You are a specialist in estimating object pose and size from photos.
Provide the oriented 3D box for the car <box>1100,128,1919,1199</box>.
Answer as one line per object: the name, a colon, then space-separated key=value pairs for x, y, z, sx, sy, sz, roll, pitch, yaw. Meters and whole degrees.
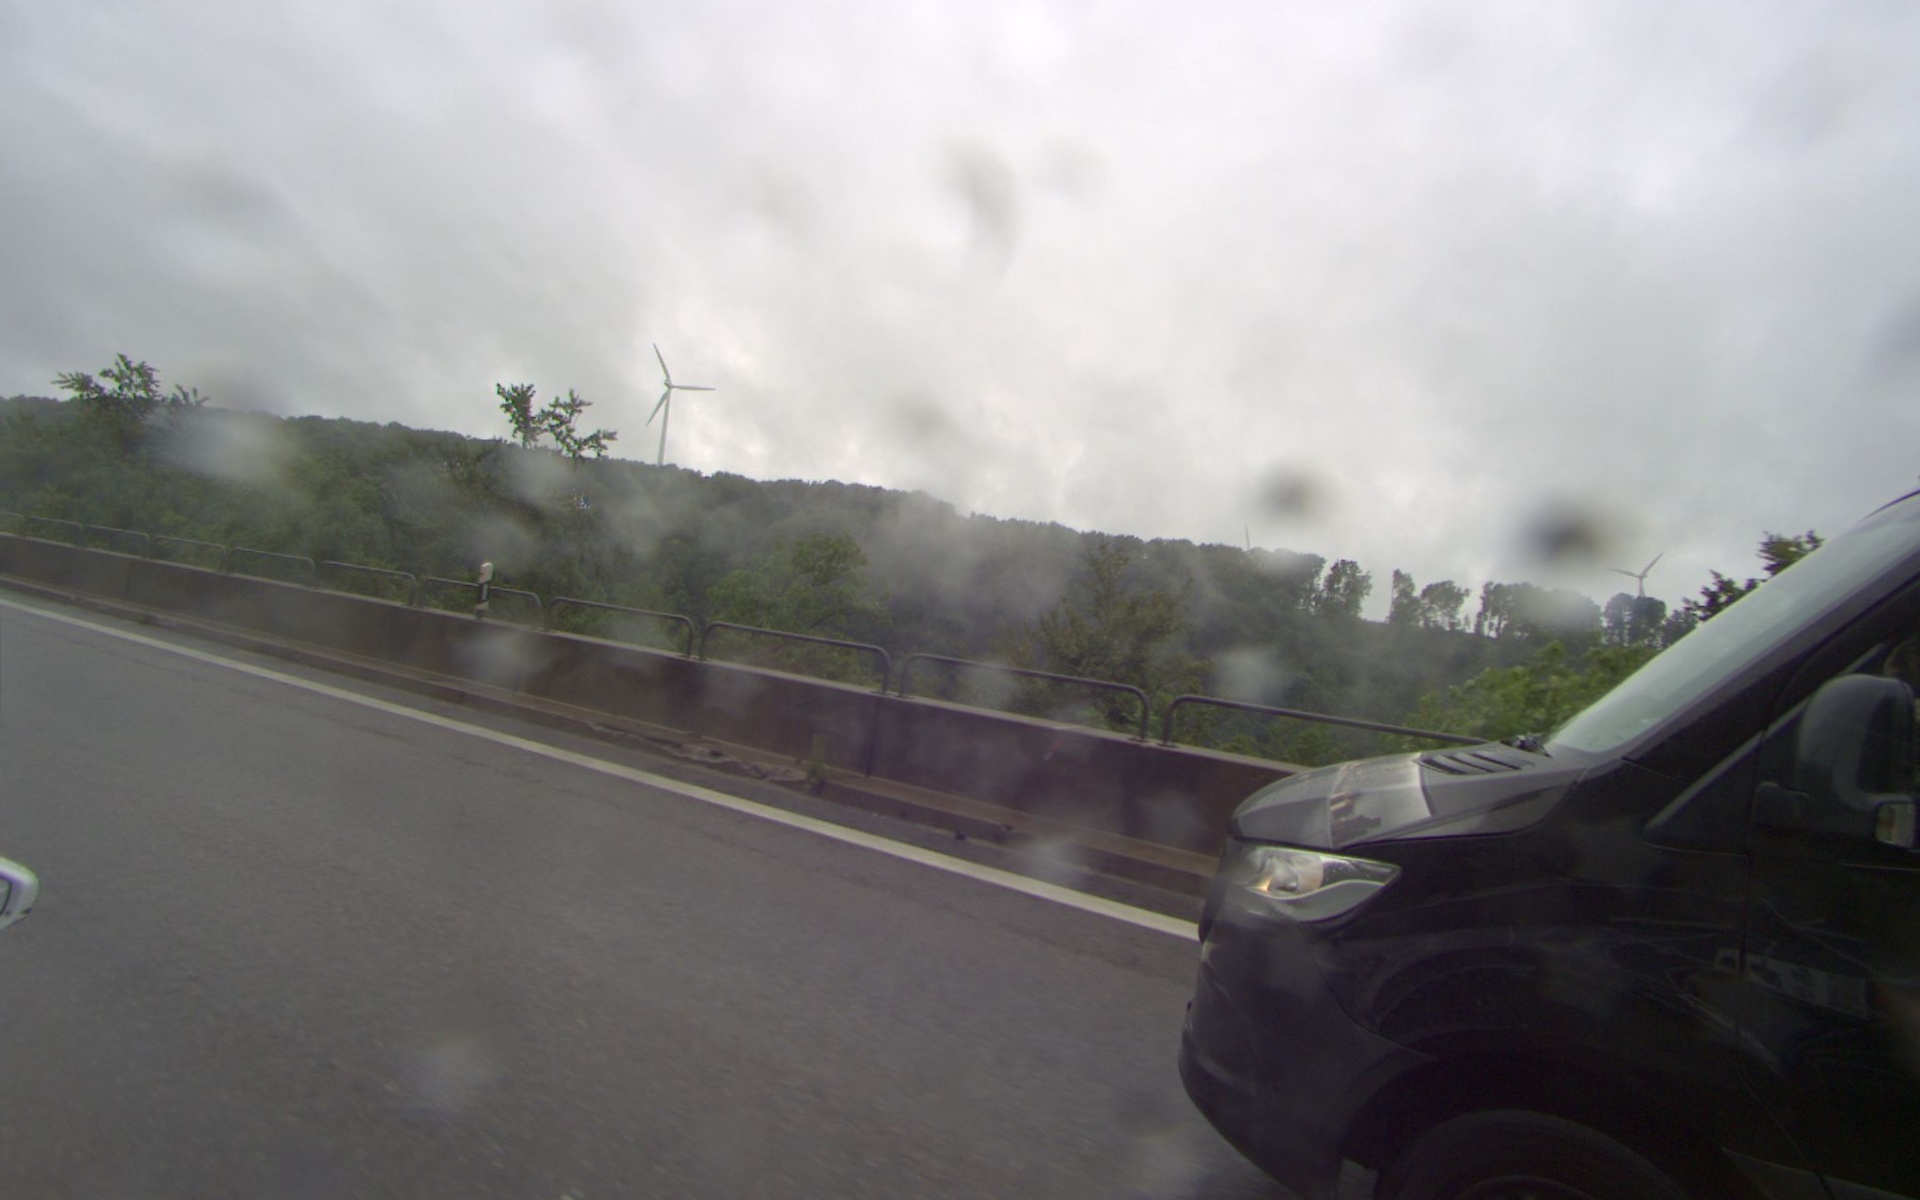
car: x=3.767 y=0.740 z=1.514 sx=6.593 sy=2.523 sz=1.997 roll=7 pitch=-1 yaw=31
